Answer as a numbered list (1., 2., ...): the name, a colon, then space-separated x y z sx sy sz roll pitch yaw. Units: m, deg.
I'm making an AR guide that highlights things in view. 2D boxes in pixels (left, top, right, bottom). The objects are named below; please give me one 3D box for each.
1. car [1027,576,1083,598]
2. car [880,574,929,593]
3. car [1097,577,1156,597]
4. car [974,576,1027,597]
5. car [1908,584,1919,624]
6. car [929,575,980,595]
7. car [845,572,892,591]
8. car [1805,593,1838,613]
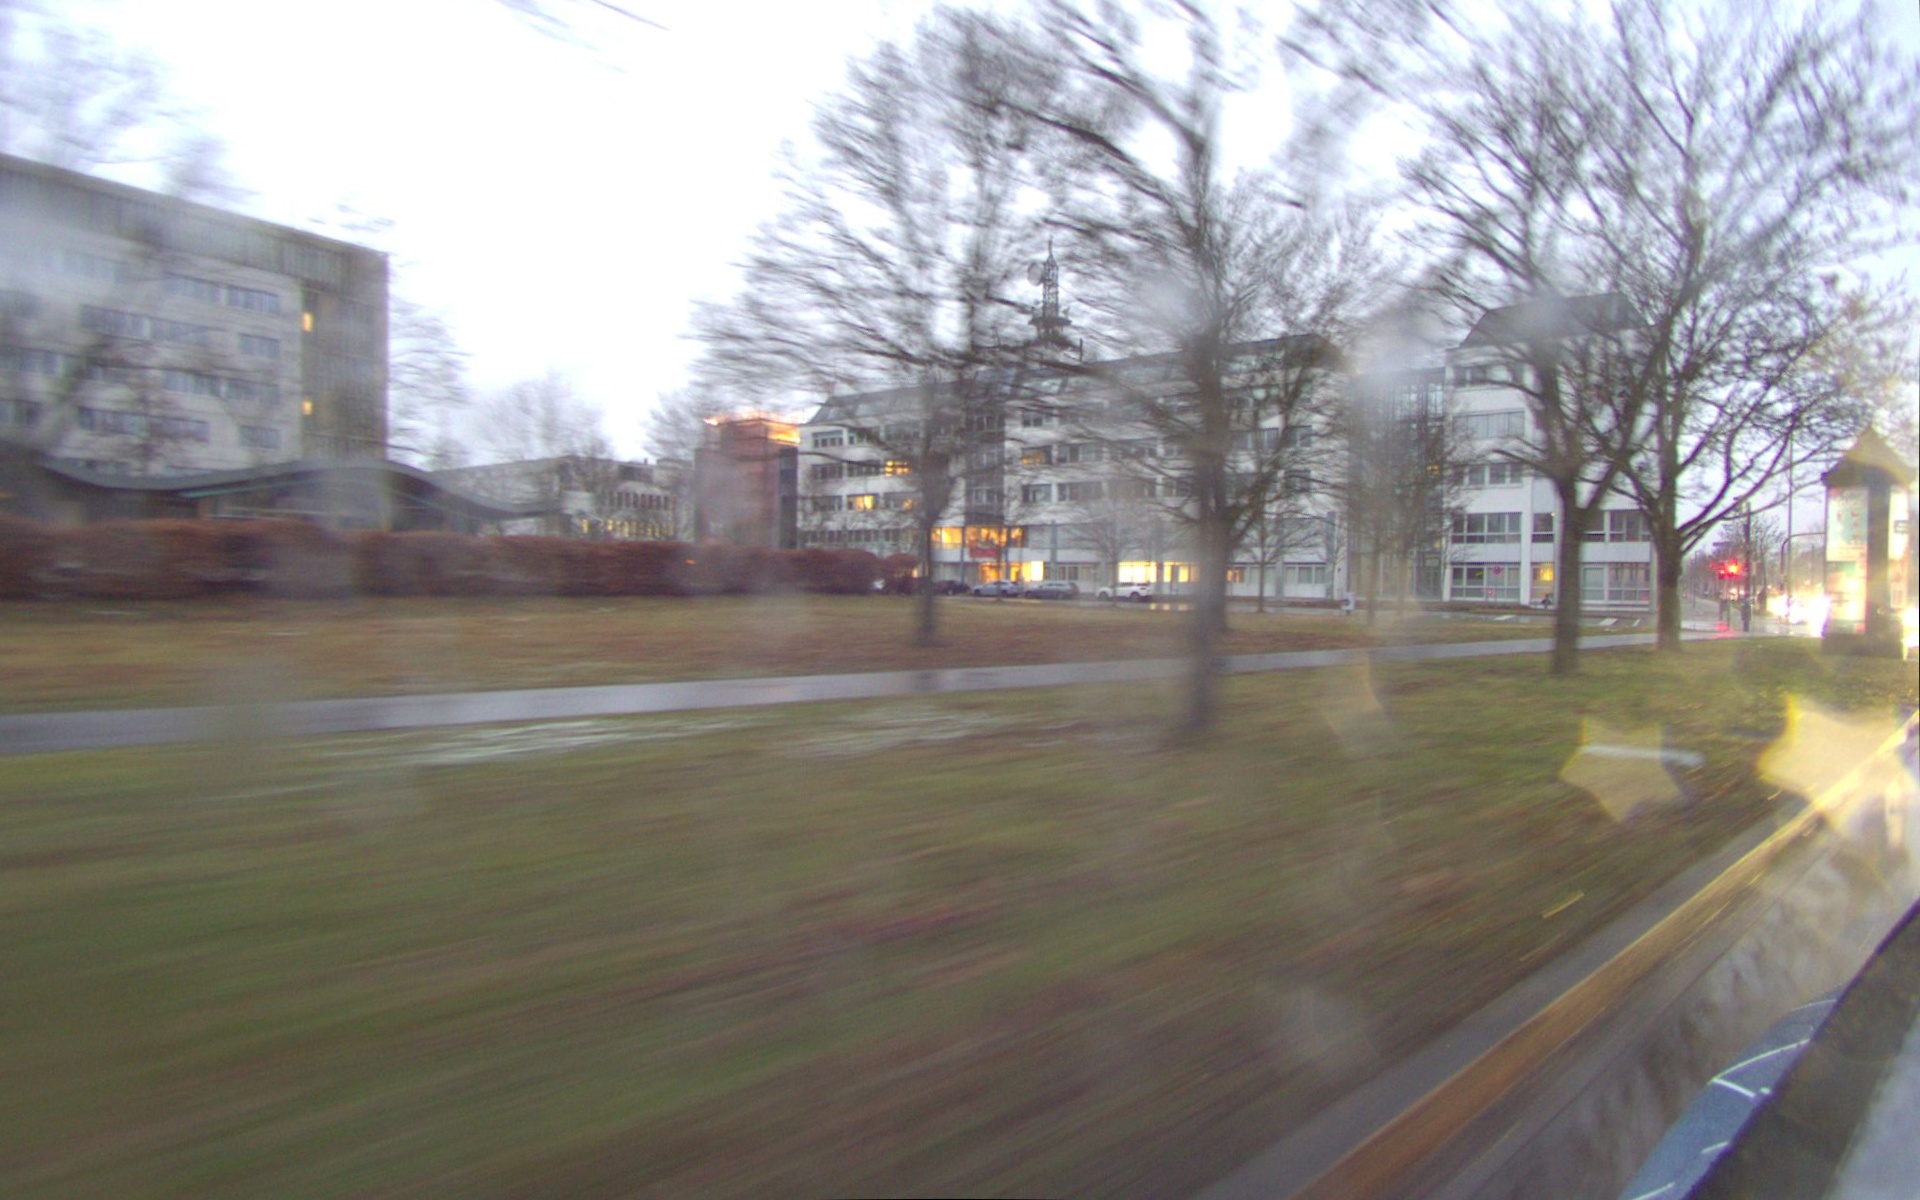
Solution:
1. car: 7.823 -1.084 83.453 4.120 1.652 1.976 2 1 34
2. car: -5.095 -1.520 92.336 4.137 1.652 1.976 2 1 34
3. car: 12.834 -0.996 78.000 4.137 1.456 1.881 2 1 34
4. car: 3.442 -1.167 86.714 4.137 1.652 1.976 2 1 34
5. car: 39.606 0.177 40.677 1.942 1.575 4.156 2 1 40
6. car: -0.508 -1.354 89.411 4.137 1.652 1.976 2 1 34
7. car: -8.577 -1.746 95.126 4.137 1.652 1.976 2 1 34
8. car: 68.961 0.250 81.051 1.942 1.575 4.156 -1 0 40
